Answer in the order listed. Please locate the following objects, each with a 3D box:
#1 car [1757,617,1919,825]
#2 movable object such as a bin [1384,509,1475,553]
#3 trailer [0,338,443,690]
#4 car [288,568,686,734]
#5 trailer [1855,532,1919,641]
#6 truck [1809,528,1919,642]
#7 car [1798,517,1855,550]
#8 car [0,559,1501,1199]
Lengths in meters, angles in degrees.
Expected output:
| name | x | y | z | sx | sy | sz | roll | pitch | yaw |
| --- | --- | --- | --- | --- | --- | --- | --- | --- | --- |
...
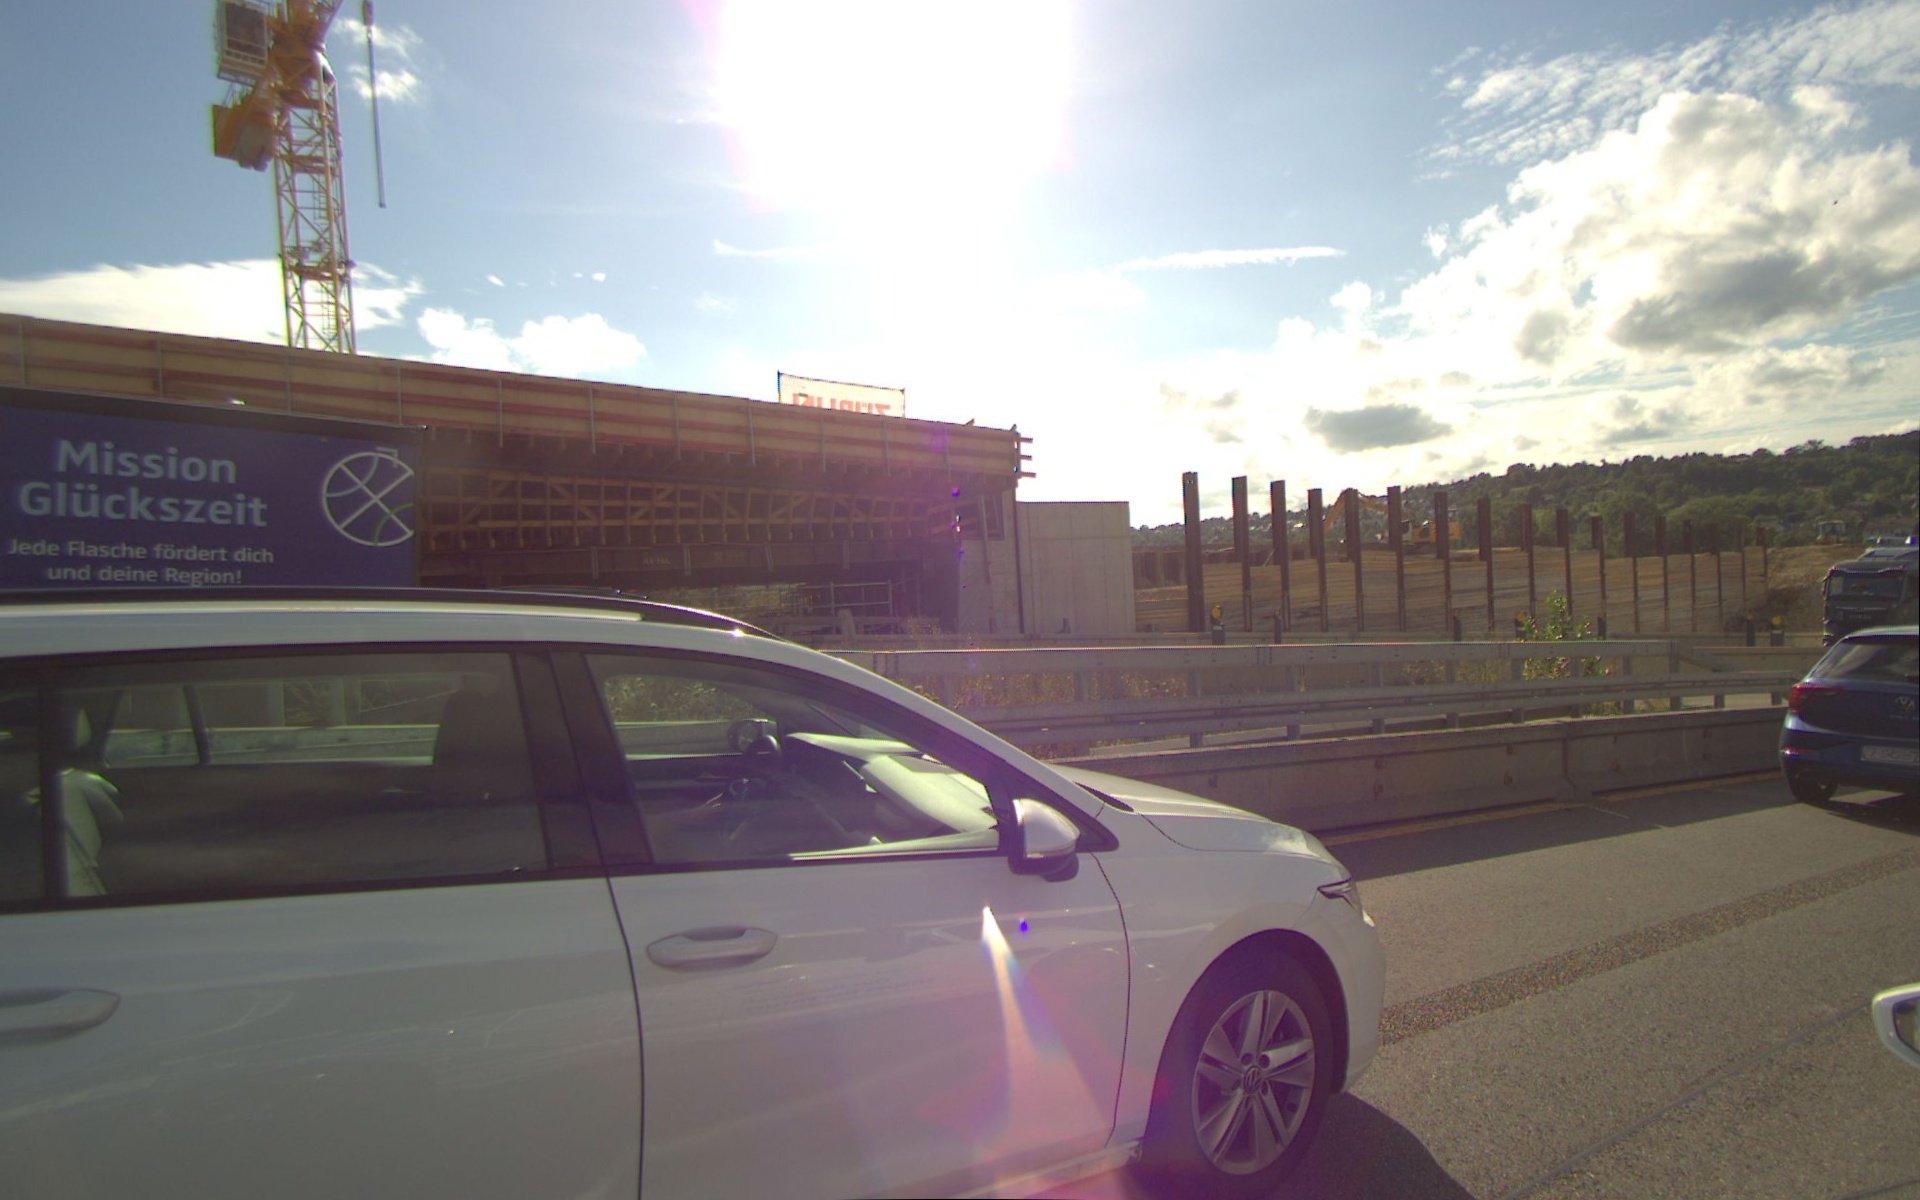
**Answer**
| name | x | y | z | sx | sy | sz | roll | pitch | yaw |
| --- | --- | --- | --- | --- | --- | --- | --- | --- | --- |
| car | 8.331 | 0.894 | 8.039 | 3.952 | 1.440 | 1.714 | 2 | -1 | -29 |
| movable object such as a bin | 41.237 | -6.026 | 88.418 | 4.441 | 3.314 | 5.740 | 2 | 0 | -19 |
| trailer | -13.980 | -1.091 | 12.007 | 13.661 | 4.211 | 2.672 | 2 | 0 | -33 |
| car | -5.882 | 0.591 | 12.748 | 4.279 | 1.791 | 1.913 | 2 | 0 | -32 |
| trailer | 40.210 | -0.296 | 38.844 | 13.608 | 3.892 | 2.814 | 2 | 0 | -23 |
| truck | 34.026 | -0.442 | 36.210 | 5.931 | 3.839 | 2.771 | 2 | 0 | -22 |
| car | 71.163 | -5.434 | 82.486 | 5.263 | 2.167 | 1.984 | 2 | -5 | -32 |
| car | -0.779 | 0.754 | 2.513 | 4.465 | 1.510 | 1.761 | 2 | -2 | -31 |
